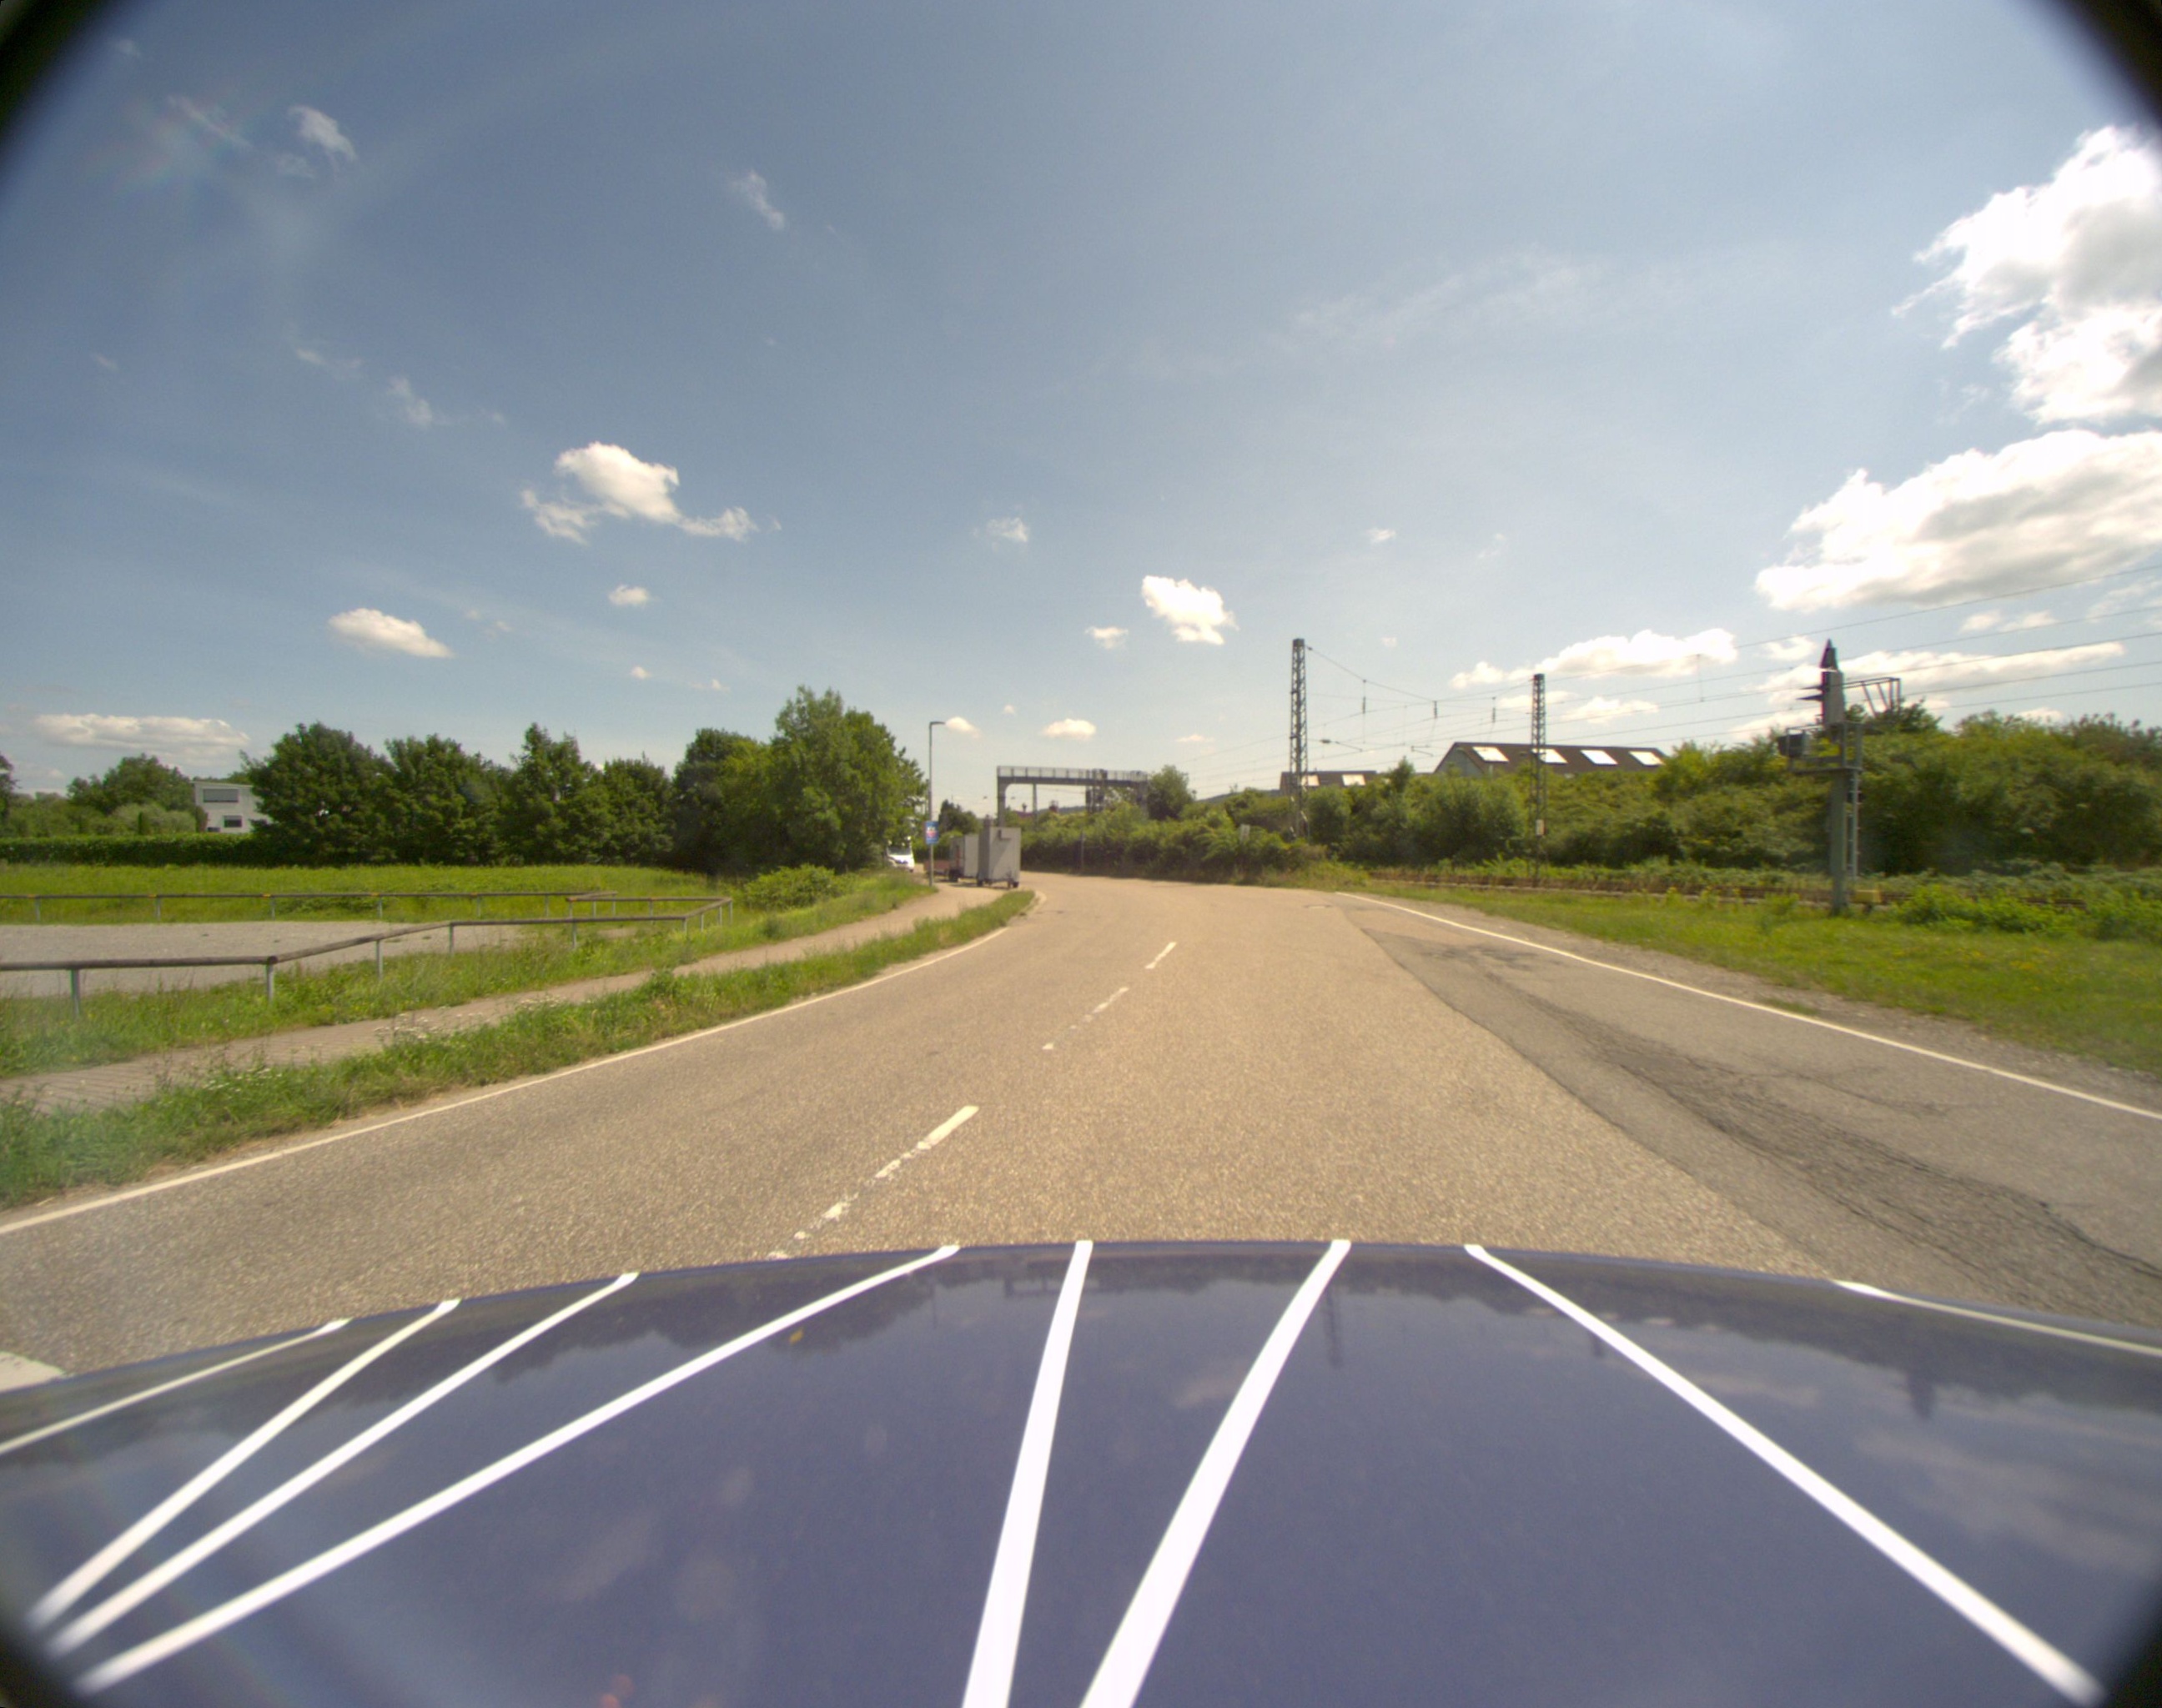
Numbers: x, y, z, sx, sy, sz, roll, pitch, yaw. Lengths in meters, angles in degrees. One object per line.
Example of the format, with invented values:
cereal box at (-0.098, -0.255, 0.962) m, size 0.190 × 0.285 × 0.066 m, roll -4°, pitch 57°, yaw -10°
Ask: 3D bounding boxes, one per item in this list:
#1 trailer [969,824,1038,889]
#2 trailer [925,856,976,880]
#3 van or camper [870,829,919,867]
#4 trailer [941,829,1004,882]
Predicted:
trailer at (-3.578, 0.104, 34.049) m, size 1.941 × 2.628 × 5.175 m, roll 2°, pitch 0°, yaw -18°
trailer at (-7.427, 0.757, 42.840) m, size 2.013 × 1.116 × 4.480 m, roll 2°, pitch 0°, yaw -21°
van or camper at (-14.718, -0.477, 59.627) m, size 2.450 × 2.810 × 7.607 m, roll 1°, pitch 0°, yaw -24°
trailer at (-5.616, 0.080, 38.852) m, size 1.927 × 2.493 × 4.731 m, roll 2°, pitch 0°, yaw -23°
